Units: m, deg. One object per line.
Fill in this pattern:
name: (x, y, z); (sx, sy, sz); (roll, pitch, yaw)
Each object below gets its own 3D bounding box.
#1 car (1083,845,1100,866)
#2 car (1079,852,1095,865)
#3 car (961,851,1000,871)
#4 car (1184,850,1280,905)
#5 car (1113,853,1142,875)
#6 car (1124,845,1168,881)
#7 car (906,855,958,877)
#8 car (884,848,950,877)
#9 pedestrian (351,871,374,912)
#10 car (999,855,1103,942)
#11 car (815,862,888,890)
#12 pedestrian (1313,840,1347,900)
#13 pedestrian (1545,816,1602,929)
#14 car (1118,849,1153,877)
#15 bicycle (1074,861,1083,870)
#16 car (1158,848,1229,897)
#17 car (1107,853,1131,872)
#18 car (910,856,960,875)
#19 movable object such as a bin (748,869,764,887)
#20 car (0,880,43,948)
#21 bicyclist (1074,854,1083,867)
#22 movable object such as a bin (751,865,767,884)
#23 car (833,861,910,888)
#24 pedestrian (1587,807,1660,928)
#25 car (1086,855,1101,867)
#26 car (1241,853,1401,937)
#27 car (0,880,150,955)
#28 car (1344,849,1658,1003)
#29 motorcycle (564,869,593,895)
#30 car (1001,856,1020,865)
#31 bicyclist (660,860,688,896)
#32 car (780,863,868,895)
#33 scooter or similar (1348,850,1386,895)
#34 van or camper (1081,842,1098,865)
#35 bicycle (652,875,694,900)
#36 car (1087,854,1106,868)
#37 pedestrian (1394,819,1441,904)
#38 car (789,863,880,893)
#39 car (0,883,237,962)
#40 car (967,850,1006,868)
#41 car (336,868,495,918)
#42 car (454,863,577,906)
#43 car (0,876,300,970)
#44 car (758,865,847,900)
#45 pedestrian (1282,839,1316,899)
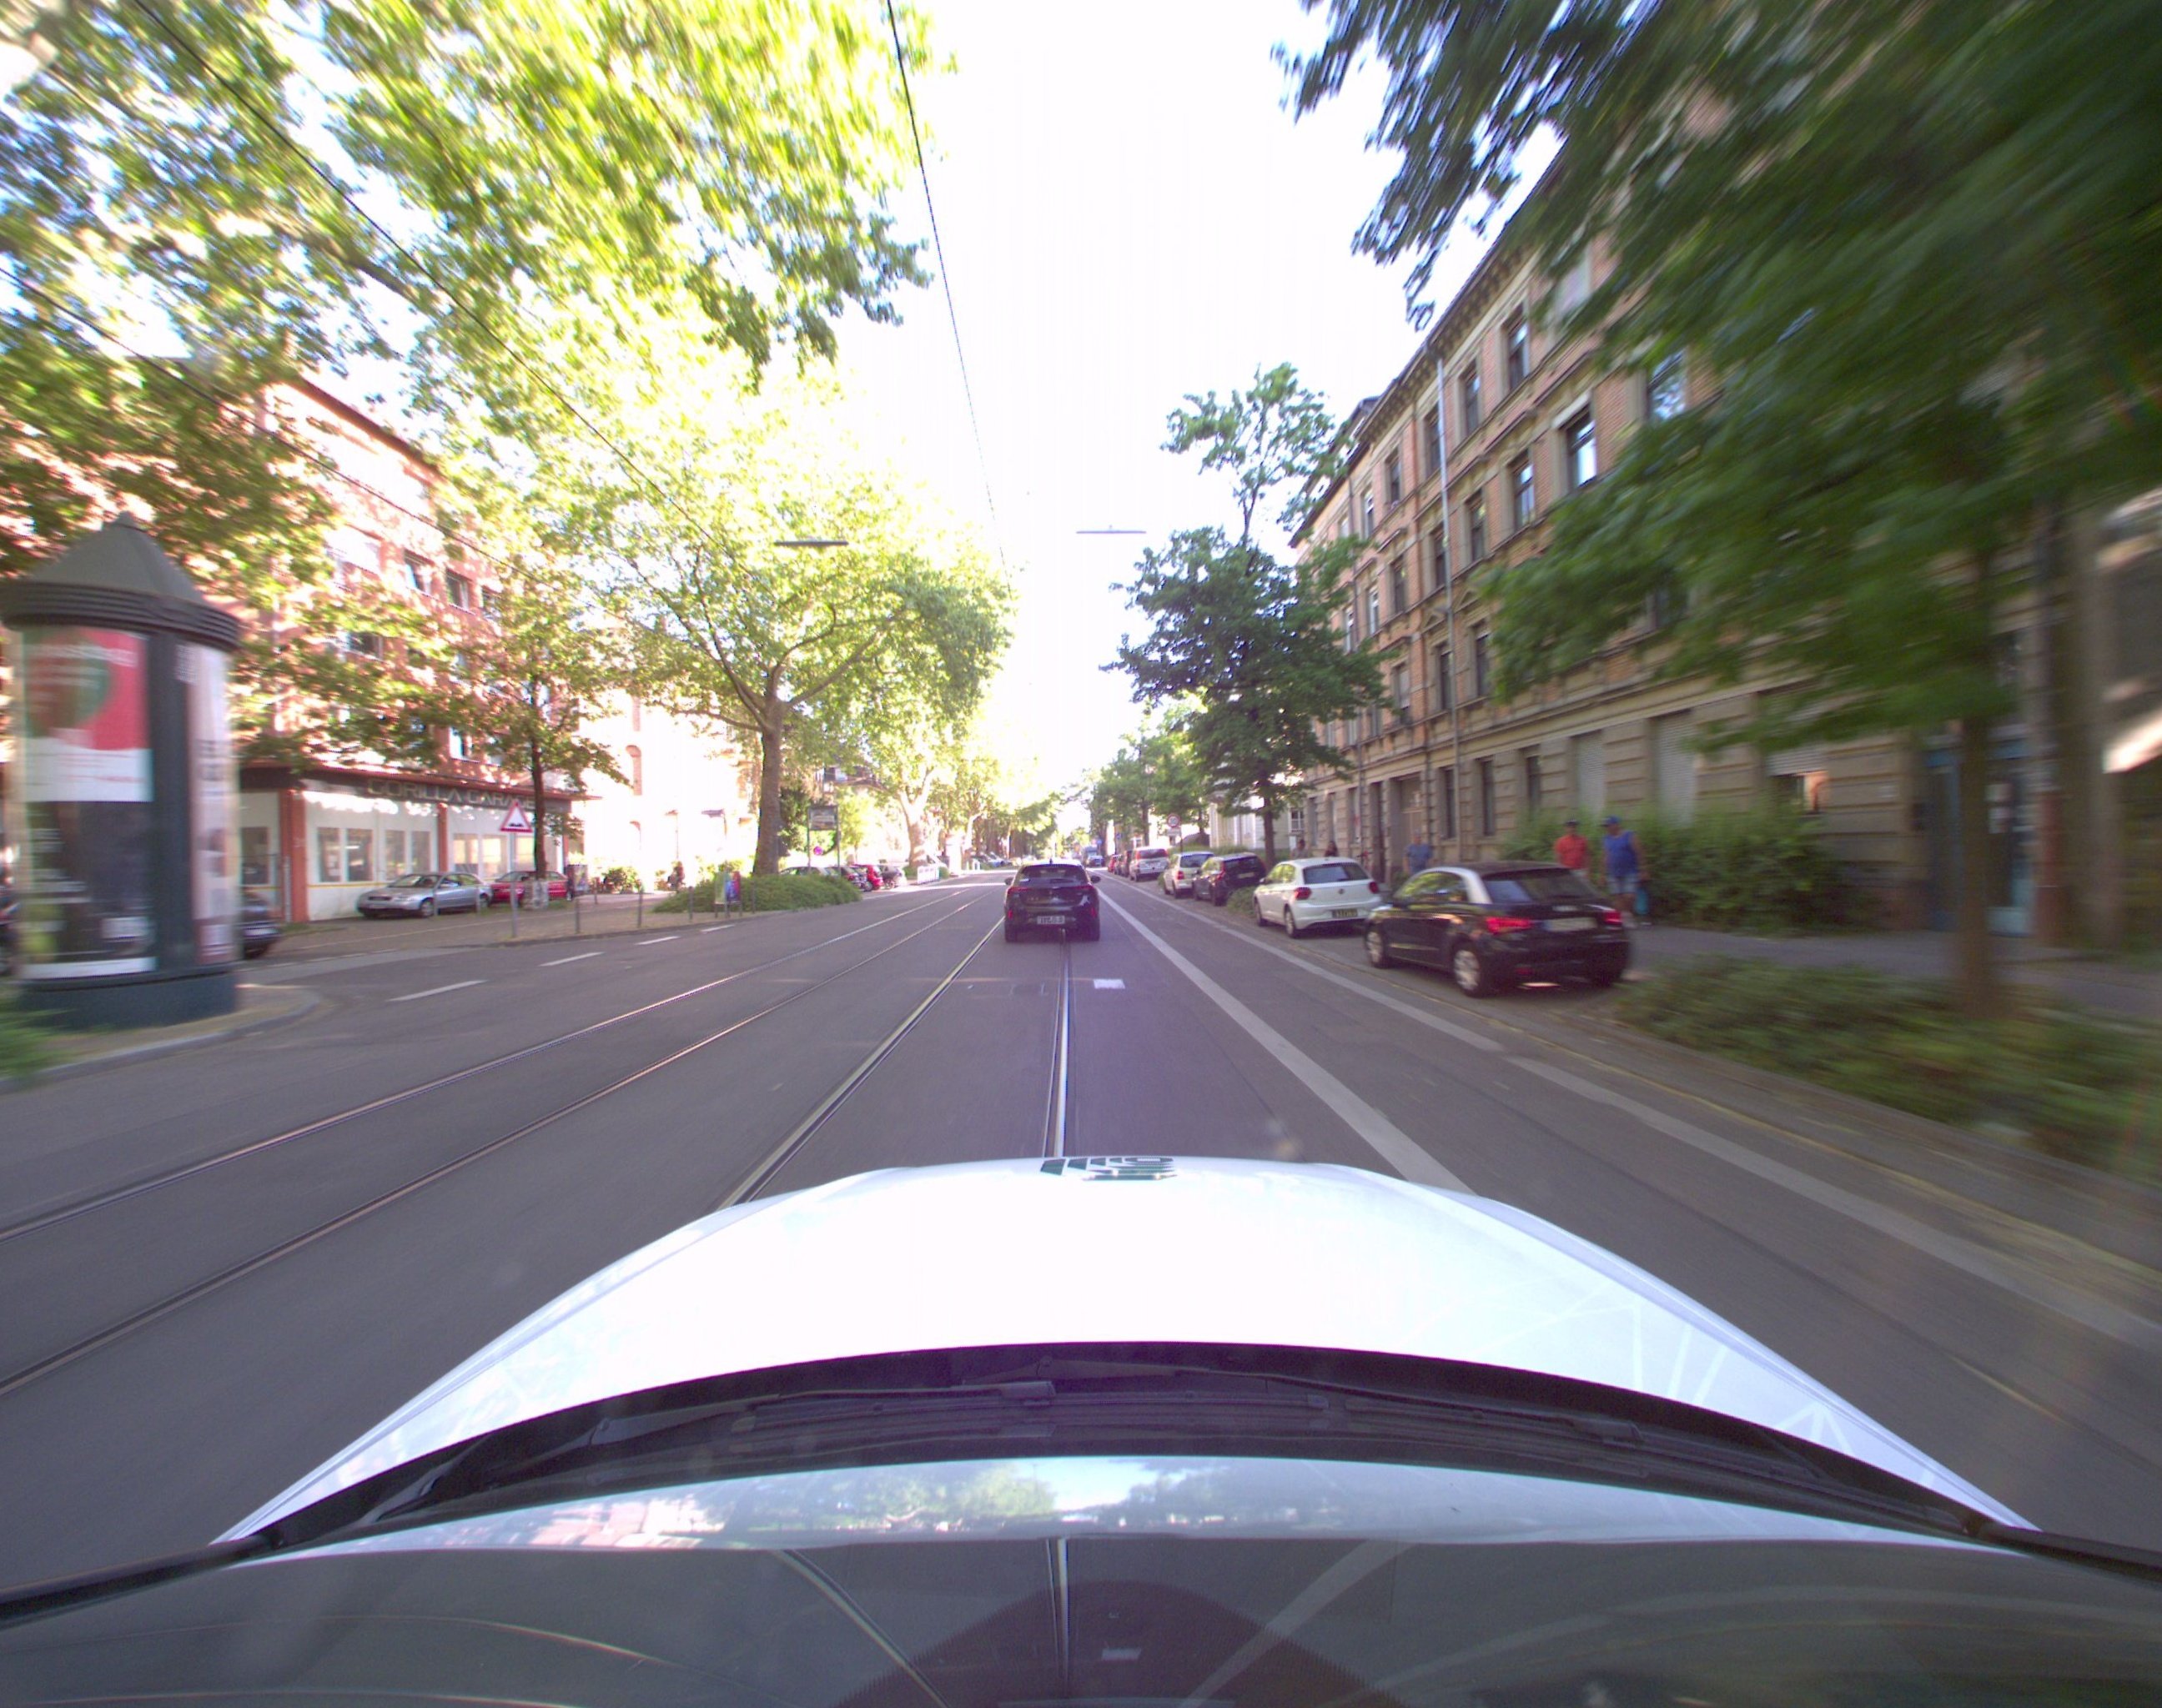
car: (1.432, 0.247, 113.350); (2.079, 2.772, 4.694); (-3, 0, -2)
car: (0.963, 0.659, 127.093); (2.248, 1.840, 5.527); (-3, 0, -2)
car: (-13.841, 0.931, 112.158); (5.023, 2.374, 2.080); (-5, 0, -2)
car: (4.675, 0.683, 25.917); (1.880, 1.467, 4.588); (-4, 0, -3)
car: (3.442, 0.723, 61.314); (1.708, 1.514, 4.032); (-4, 0, -3)
car: (3.653, 0.490, 46.468); (1.879, 1.851, 4.964); (-4, 0, -2)
car: (-13.178, 1.072, 72.257); (4.291, 1.801, 1.923); (-1, 0, -5)
car: (-13.307, 0.704, 66.340); (5.025, 2.259, 2.082); (-1, 0, -5)
pedestrian: (-31.838, 1.667, 36.099); (0.538, 1.778, 0.520); (-1, -1, -2)
car: (-0.552, 0.769, 15.864); (1.758, 1.460, 3.948); (-1, 0, -1)
car: (-12.358, 1.168, 44.052); (3.408, 1.465, 1.759); (-1, 0, 0)
pedestrian: (7.161, 0.454, 23.473); (0.723, 1.709, 0.857); (-1, -1, 3)
pedestrian: (8.039, 0.297, 13.323); (0.719, 1.793, 0.604); (-1, -1, 26)
car: (3.662, 0.574, 55.383); (1.880, 1.766, 4.675); (-2, 0, -2)
bicycle: (-0.289, 1.357, 94.656); (0.965, 0.999, 2.580); (-1, 0, -3)
car: (4.152, 0.665, 30.649); (1.879, 1.568, 4.239); (-4, 0, -2)
car: (3.226, 0.707, 70.035); (1.698, 1.423, 3.975); (-5, 0, -2)
car: (-13.419, 1.067, 74.882); (4.291, 1.607, 1.923); (-1, 0, -5)
movable object such as a bin: (-19.550, 1.438, 49.056); (0.722, 1.109, 0.543); (-1, -1, 0)
car: (-26.748, 1.461, 18.102); (1.994, 1.618, 4.541); (-1, 0, -11)
bicyclist: (-0.305, 0.772, 94.637); (0.956, 1.499, 1.093); (-1, -1, -3)
movable object such as a bin: (-19.630, 1.241, 49.612); (0.721, 1.109, 0.560); (-1, -1, 0)
car: (-12.027, 1.161, 46.912); (3.977, 1.465, 1.853); (-1, 0, -2)
pedestrian: (8.284, 0.195, 12.462); (0.597, 1.793, 0.727); (-1, -1, -4)
car: (1.586, 0.874, 106.147); (1.798, 1.434, 3.997); (-3, -1, -2)
car: (4.691, 0.746, 16.572); (1.879, 1.368, 4.104); (-4, 0, -2)
car: (-24.463, 1.431, 18.720); (1.995, 1.526, 3.984); (-1, 0, -12)
car: (4.831, 0.731, 10.063); (1.669, 1.412, 3.838); (-4, 0, -3)
motorcycle: (-26.754, 1.482, 43.399); (0.598, 1.288, 1.626); (-1, 0, -2)
car: (-16.300, 1.479, 187.523); (3.968, 2.014, 2.003); (-1, 0, 4)
bicyclist: (-17.693, 1.026, 35.412); (0.800, 1.507, 1.112); (-1, -1, -12)
car: (-12.198, 1.179, 38.789); (3.590, 1.465, 1.686); (-1, 0, 0)
scooter or similar: (8.037, 0.508, 22.931); (0.574, 1.246, 1.334); (-1, 0, 0)
van or camper: (1.229, 0.005, 119.909); (2.248, 3.216, 5.527); (-3, 0, -2)
bicycle: (-17.682, 1.444, 35.377); (0.968, 0.999, 2.573); (-1, 0, -11)
car: (1.811, 0.804, 95.828); (1.879, 1.434, 4.527); (-4, 0, -2)
pedestrian: (7.254, 0.162, 17.554); (0.731, 1.793, 0.594); (0, -1, -31)
car: (-12.580, 1.227, 41.779); (4.069, 1.465, 1.820); (-1, 0, 0)
car: (-22.284, 1.491, 18.878); (1.813, 1.493, 3.984); (-1, 0, -12)
car: (-14.412, 0.757, 124.853); (5.617, 2.593, 2.197); (-1, 0, 2)
car: (-21.269, 1.203, 26.244); (1.942, 1.407, 3.890); (-1, 0, -1)
car: (-21.446, 1.113, 31.092); (1.942, 1.487, 3.998); (-1, 0, -1)
car: (-16.748, 1.171, 14.383); (3.983, 1.449, 1.739); (-1, 0, -7)
car: (-12.454, 1.269, 36.560); (3.408, 1.465, 1.697); (-1, 0, 0)
pedestrian: (6.264, 0.421, 23.419); (0.723, 1.693, 0.957); (-1, -1, 0)
